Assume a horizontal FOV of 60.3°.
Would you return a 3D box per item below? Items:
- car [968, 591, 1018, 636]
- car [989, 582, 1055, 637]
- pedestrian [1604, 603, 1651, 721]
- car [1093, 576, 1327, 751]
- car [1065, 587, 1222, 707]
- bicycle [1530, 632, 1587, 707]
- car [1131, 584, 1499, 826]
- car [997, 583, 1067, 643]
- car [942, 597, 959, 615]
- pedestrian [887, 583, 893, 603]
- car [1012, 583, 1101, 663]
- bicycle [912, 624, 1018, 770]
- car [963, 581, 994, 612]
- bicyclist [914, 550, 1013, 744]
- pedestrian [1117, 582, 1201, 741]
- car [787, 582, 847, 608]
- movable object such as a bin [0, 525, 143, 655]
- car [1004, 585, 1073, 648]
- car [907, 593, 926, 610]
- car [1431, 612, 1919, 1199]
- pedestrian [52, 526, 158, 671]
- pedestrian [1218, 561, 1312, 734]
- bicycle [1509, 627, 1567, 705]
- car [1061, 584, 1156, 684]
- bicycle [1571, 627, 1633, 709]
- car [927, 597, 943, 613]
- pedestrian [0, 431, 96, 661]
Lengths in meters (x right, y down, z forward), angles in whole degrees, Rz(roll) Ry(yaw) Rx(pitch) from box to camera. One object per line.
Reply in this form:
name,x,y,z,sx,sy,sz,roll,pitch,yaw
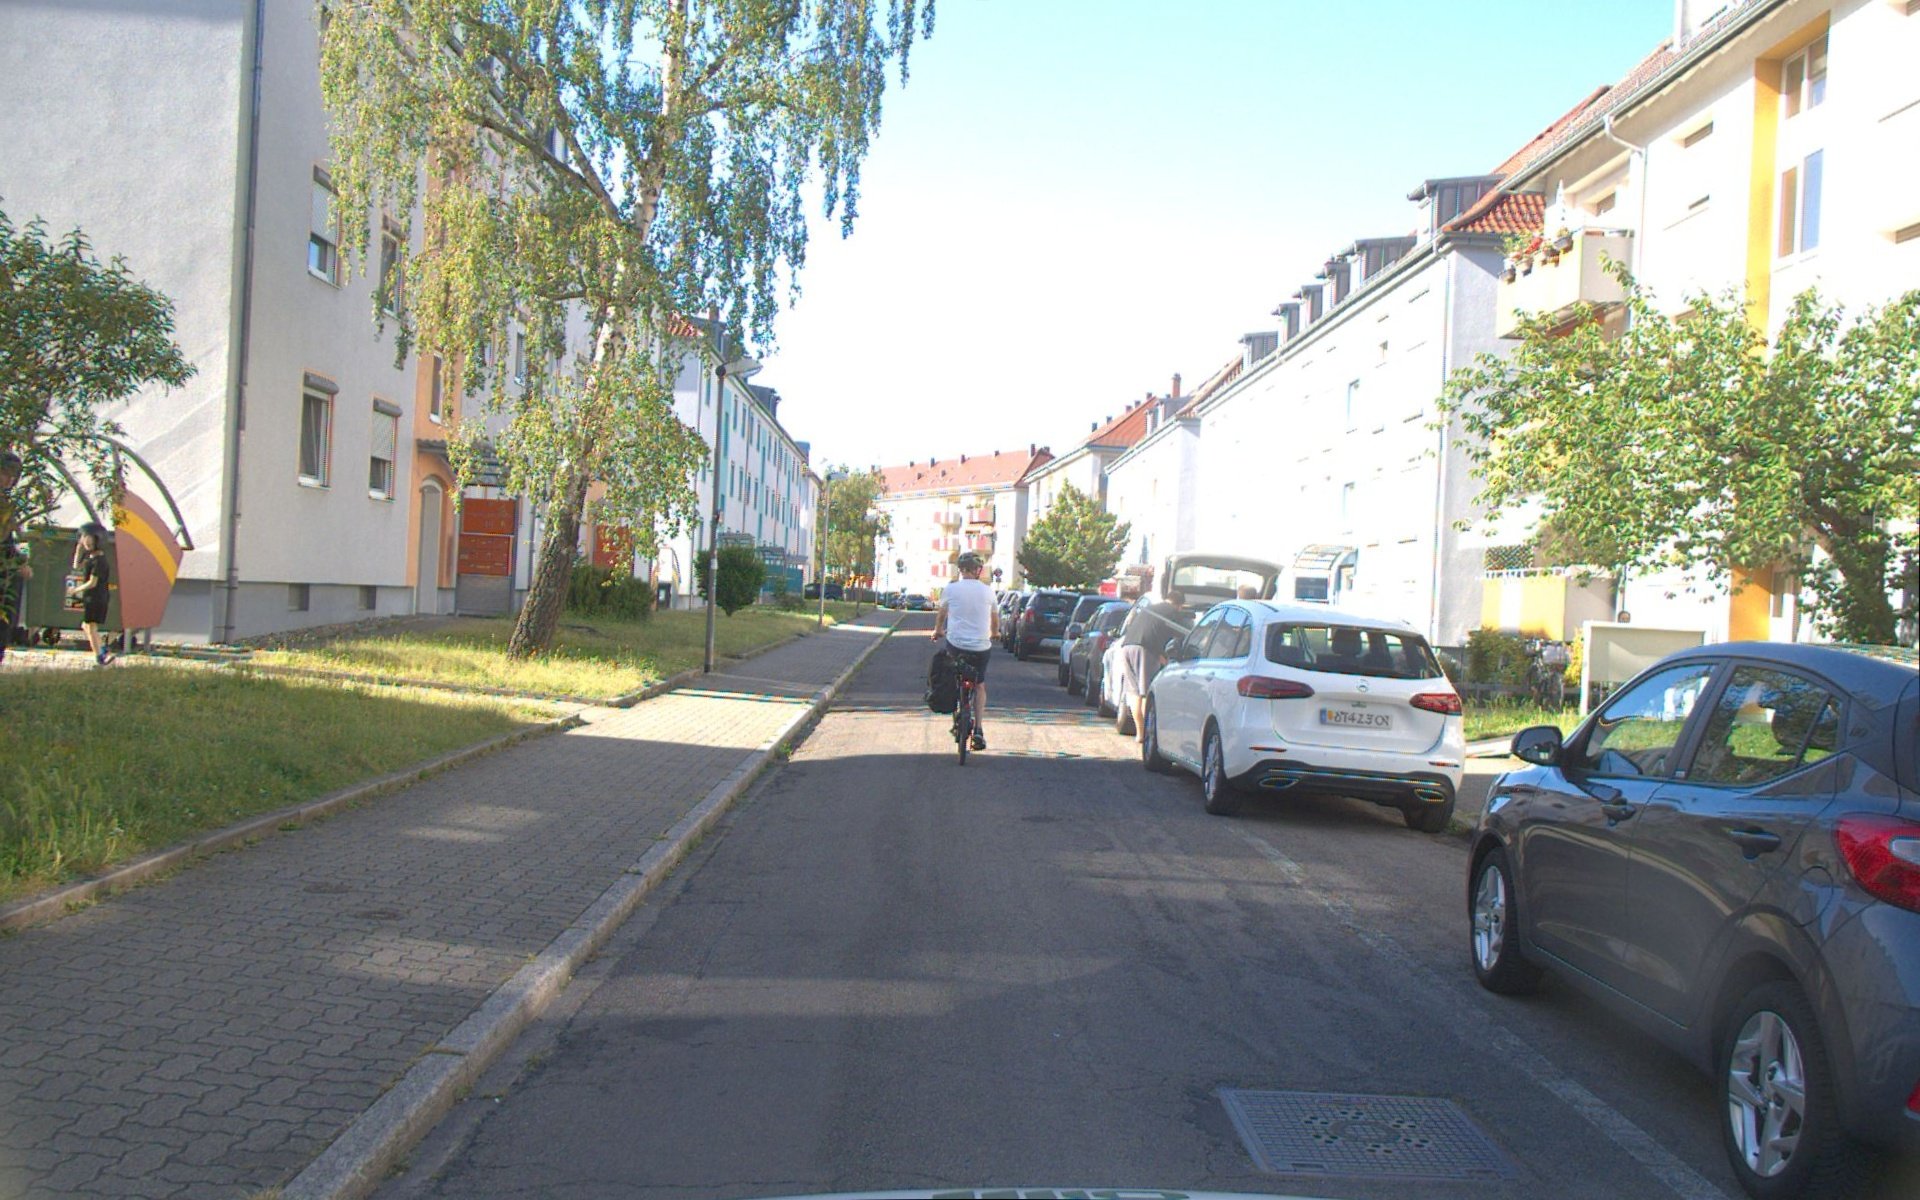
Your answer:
car,1.336,0.535,68.602,1.824,1.697,4.126,4,0,-1
car,2.054,0.281,55.992,1.716,1.645,4.449,5,0,-3
pedestrian,8.755,0.815,21.697,0.441,1.521,0.360,2,-2,-1
car,2.745,0.629,19.343,1.953,1.640,4.996,4,1,1
car,2.639,0.628,24.595,1.660,1.517,3.983,4,0,-2
bicycle,8.691,1.009,24.021,0.725,1.065,0.239,1,0,1
car,2.624,0.693,13.351,1.737,1.531,4.478,3,0,-3
car,2.128,0.358,49.941,1.656,1.602,4.433,4,0,-2
car,-0.882,0.536,152.308,1.354,1.523,3.075,1,0,-3
pedestrian,-5.608,-0.543,131.926,0.425,1.602,0.543,1,0,-1
car,2.225,0.500,39.239,1.747,1.676,4.468,4,0,0
bicycle,0.012,0.819,14.728,0.792,1.148,2.100,2,0,-3
car,1.142,-0.228,103.235,1.641,1.769,3.940,3,0,-3
bicyclist,0.019,0.406,14.837,0.792,1.672,0.898,2,0,-3
pedestrian,2.067,0.622,17.264,0.724,1.602,0.879,1,0,-2
car,-10.137,-0.334,116.989,4.149,1.667,1.581,2,0,-5
movable object such as a bin,-10.316,-0.126,18.800,1.360,1.359,1.228,4,0,-2
car,2.064,0.406,44.333,1.608,1.524,4.156,2,0,0
car,-3.571,0.118,135.791,1.440,1.358,3.139,1,0,-3
car,2.996,0.861,5.653,1.613,1.474,4.061,4,0,1
pedestrian,-8.187,-0.012,15.848,0.672,1.340,0.575,2,0,-1
pedestrian,3.110,0.473,16.911,0.803,1.717,0.604,1,0,-2
bicycle,8.701,0.982,24.931,0.395,1.106,1.299,1,0,0
car,2.564,0.566,29.069,1.449,1.555,2.942,5,0,3
bicycle,9.587,1.003,24.734,0.395,1.152,1.273,2,0,0
car,-2.517,0.525,165.047,1.440,1.542,3.075,1,0,-3
pedestrian,-7.818,-0.450,13.788,0.789,1.855,0.718,2,0,-1
